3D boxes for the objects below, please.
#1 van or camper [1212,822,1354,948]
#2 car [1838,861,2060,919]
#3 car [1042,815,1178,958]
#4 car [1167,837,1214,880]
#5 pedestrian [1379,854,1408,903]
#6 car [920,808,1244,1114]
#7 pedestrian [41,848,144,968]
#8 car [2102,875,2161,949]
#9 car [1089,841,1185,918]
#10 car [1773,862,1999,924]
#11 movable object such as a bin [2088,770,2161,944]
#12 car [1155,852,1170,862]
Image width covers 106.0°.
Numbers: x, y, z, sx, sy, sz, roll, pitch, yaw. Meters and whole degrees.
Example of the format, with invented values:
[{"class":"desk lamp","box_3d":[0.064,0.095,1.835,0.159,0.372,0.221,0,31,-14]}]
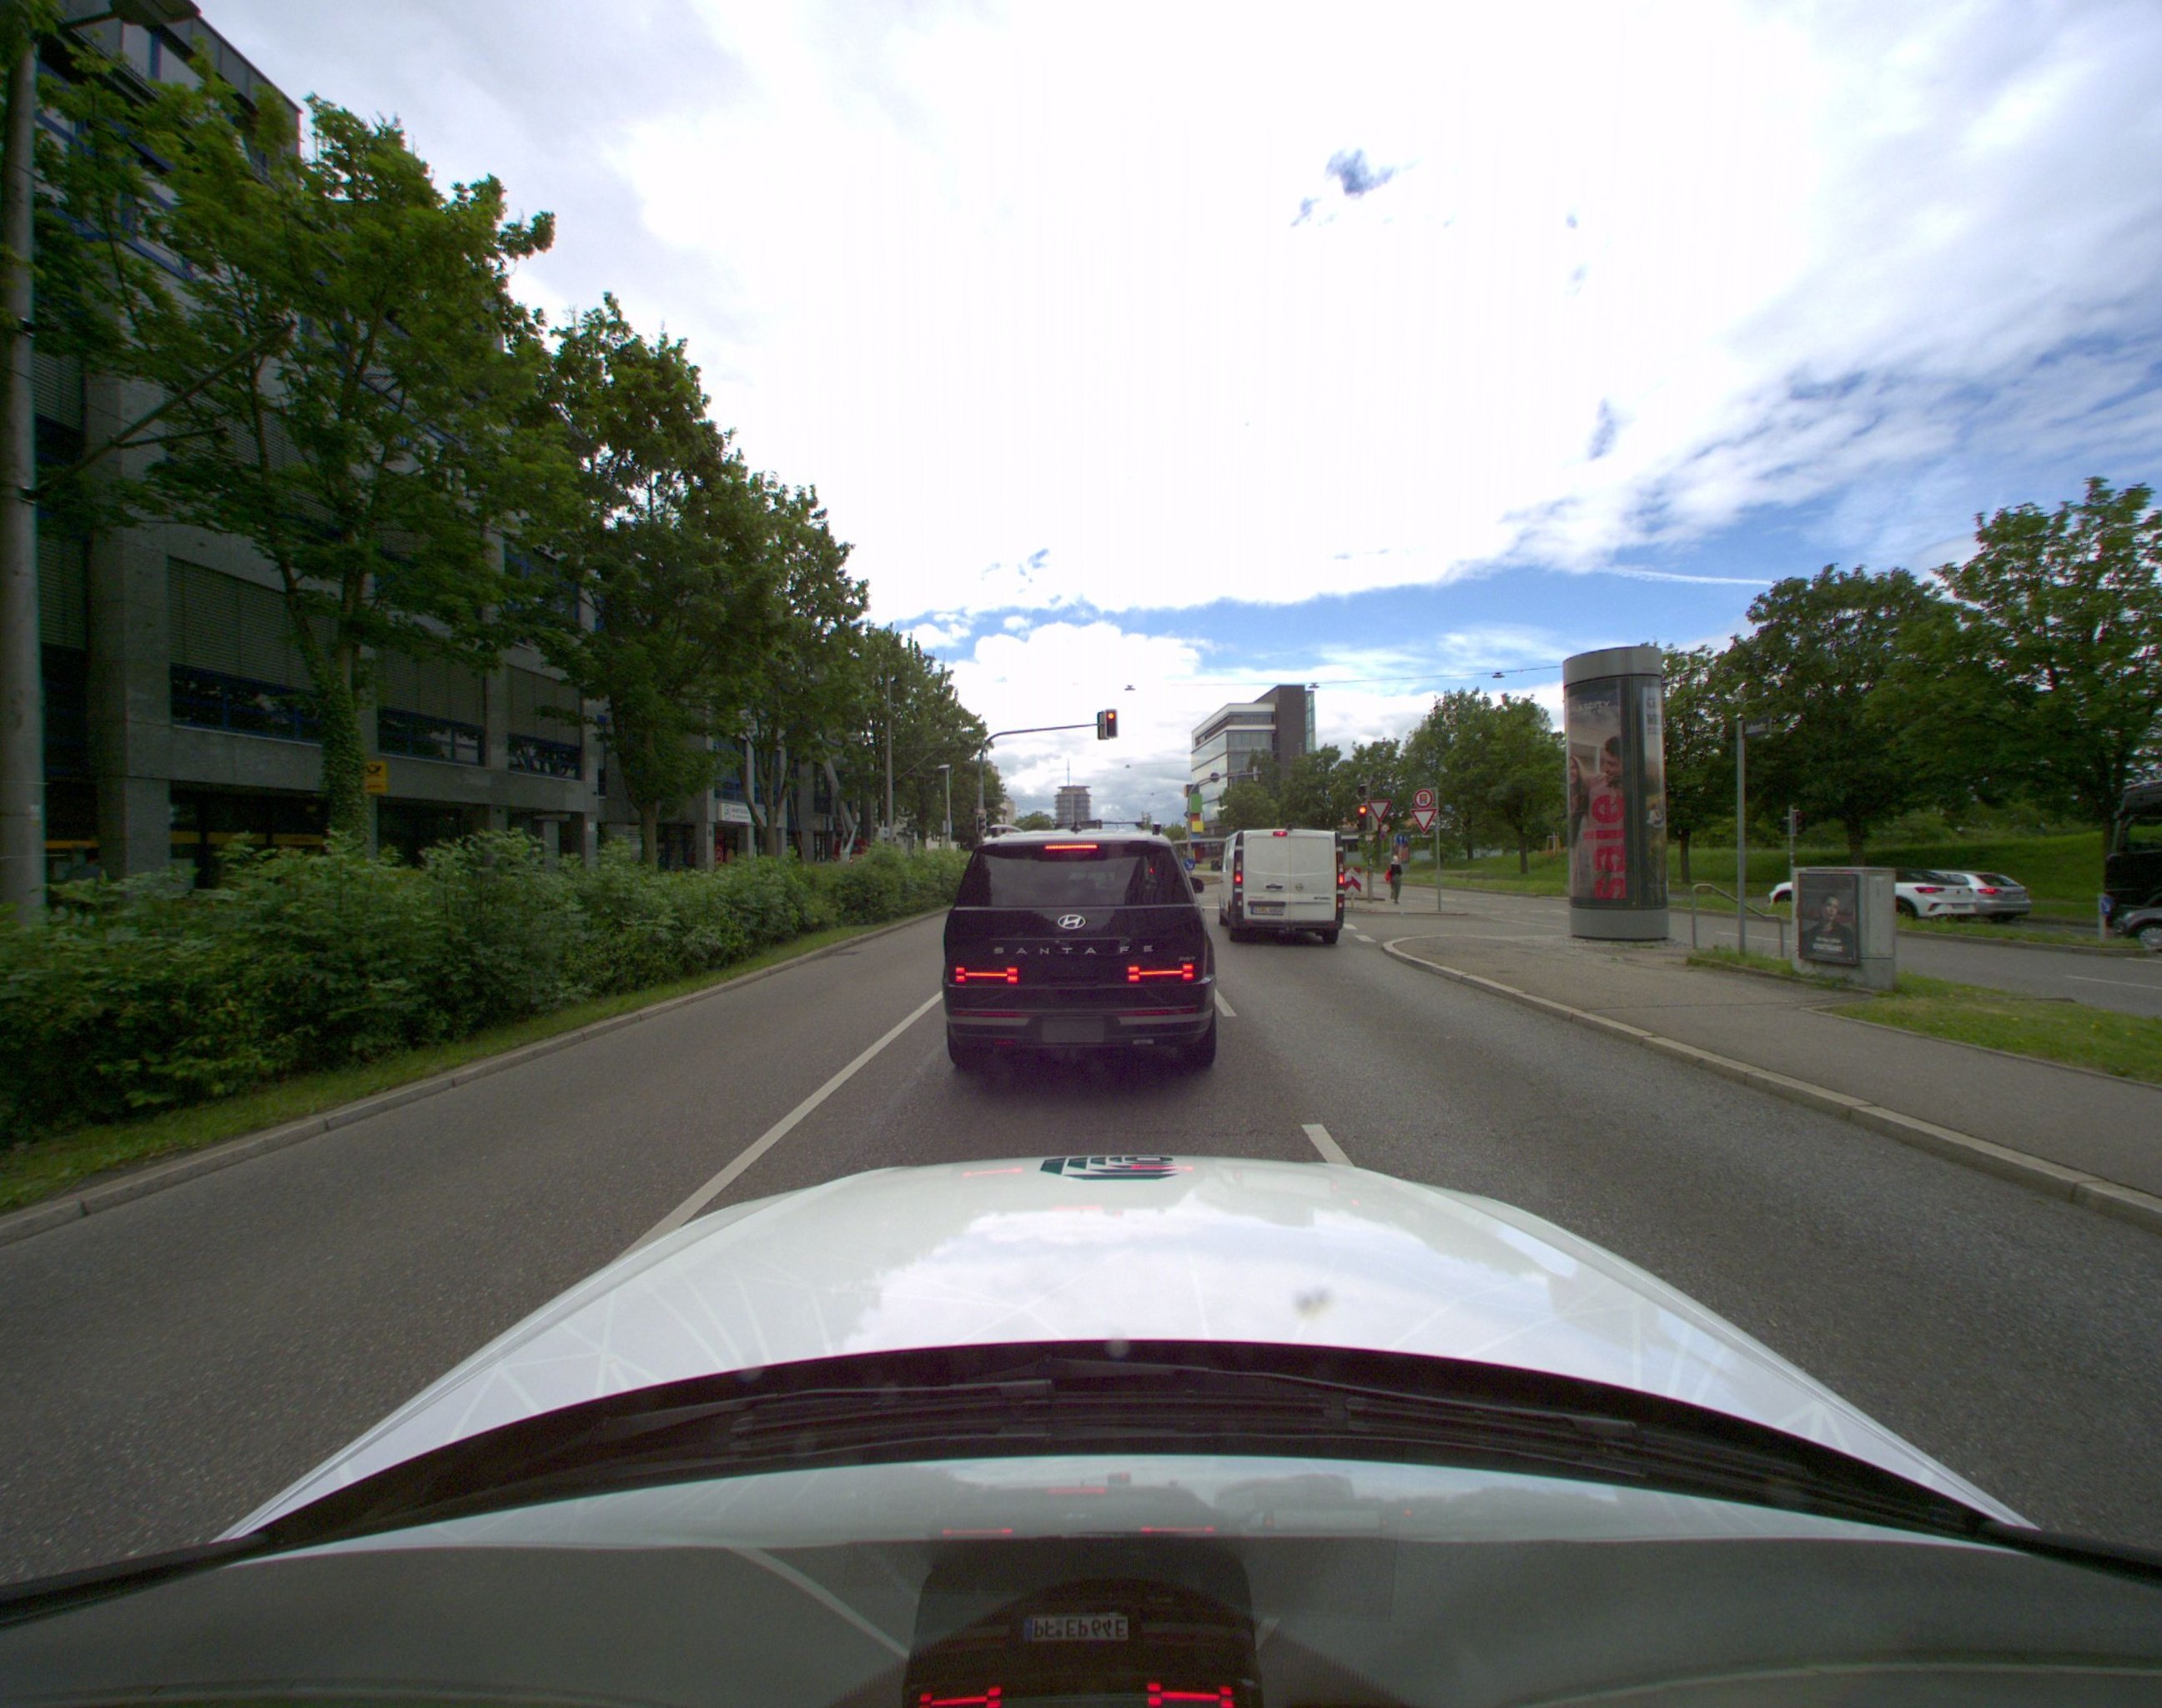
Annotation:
[{"class":"van or camper","box_3d":[3.633,0.504,15.484,1.983,2.013,4.660,-1,0,6]},{"class":"car","box_3d":[25.100,0.990,23.768,1.994,1.453,3.985,1,0,-11]},{"class":"car","box_3d":[0.478,0.469,13.630,1.908,2.003,3.881,-1,0,2]},{"class":"car","box_3d":[5.384,0.255,40.585,1.985,2.014,4.003,-1,-1,3]},{"class":"pedestrian","box_3d":[10.283,0.786,26.784,0.744,1.584,0.567,1,0,-38]},{"class":"car","box_3d":[0.067,0.630,6.732,1.862,1.760,3.881,-1,0,2]},{"class":"pedestrian","box_3d":[-16.158,0.858,13.330,0.771,1.894,0.731,-1,-1,1]},{"class":"car","box_3d":[23.005,1.214,15.519,1.994,1.453,3.985,1,0,-11]},{"class":"car","box_3d":[1.526,0.597,20.577,1.764,1.717,4.353,-1,-1,12]},{"class":"car","box_3d":[21.767,1.010,22.270,1.994,1.453,3.985,1,0,-11]},{"class":"movable object such as a bin","box_3d":[26.261,0.005,15.500,2.860,3.903,8.536,-1,-1,-11]},{"class":"car","box_3d":[13.165,0.478,131.706,1.987,1.684,3.998,-1,-1,-1]}]
